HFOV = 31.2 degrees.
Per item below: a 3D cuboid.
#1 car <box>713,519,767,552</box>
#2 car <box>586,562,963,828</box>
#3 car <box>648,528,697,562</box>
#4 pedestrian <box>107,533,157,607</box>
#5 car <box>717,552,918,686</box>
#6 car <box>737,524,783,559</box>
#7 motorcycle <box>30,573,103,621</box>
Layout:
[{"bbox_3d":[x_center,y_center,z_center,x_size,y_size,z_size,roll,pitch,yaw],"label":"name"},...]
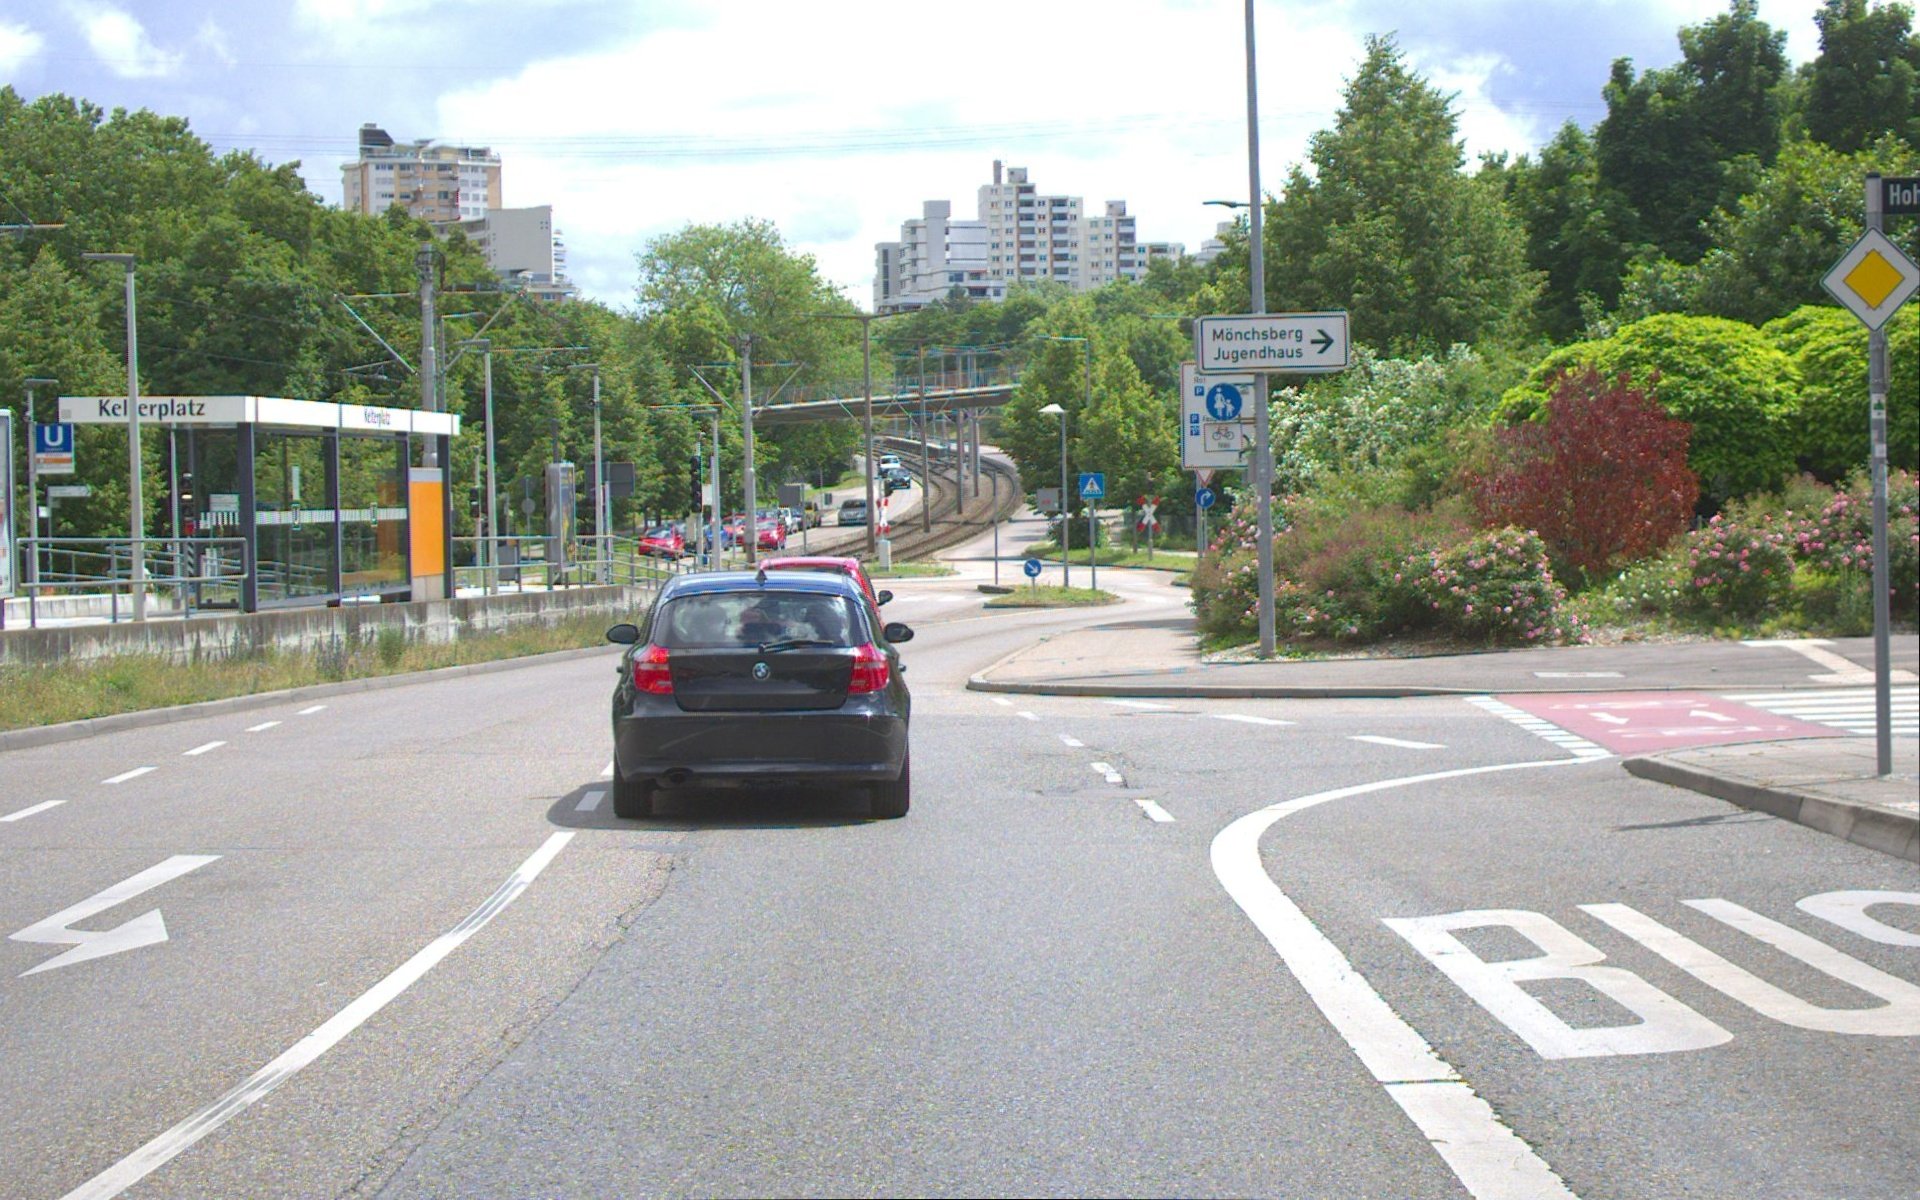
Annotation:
[{"bbox_3d":[-10.835,-3.196,169.455,1.913,1.555,3.999,-1,2,7],"label":"car"},{"bbox_3d":[-1.027,0.515,20.972,1.815,1.416,4.000,-2,0,3],"label":"car"},{"bbox_3d":[-12.403,-2.378,148.494,1.528,1.366,3.597,-1,2,5],"label":"car"},{"bbox_3d":[-22.654,-0.825,94.063,0.961,2.006,0.821,0,2,24],"label":"pedestrian"},{"bbox_3d":[-1.604,0.192,39.873,1.766,1.427,3.478,-2,1,7],"label":"car"},{"bbox_3d":[-9.160,-2.692,157.443,1.719,1.497,2.966,-1,2,4],"label":"car"},{"bbox_3d":[-21.375,-0.085,82.283,0.729,1.077,2.214,-1,1,12],"label":"motorcycle"}]
